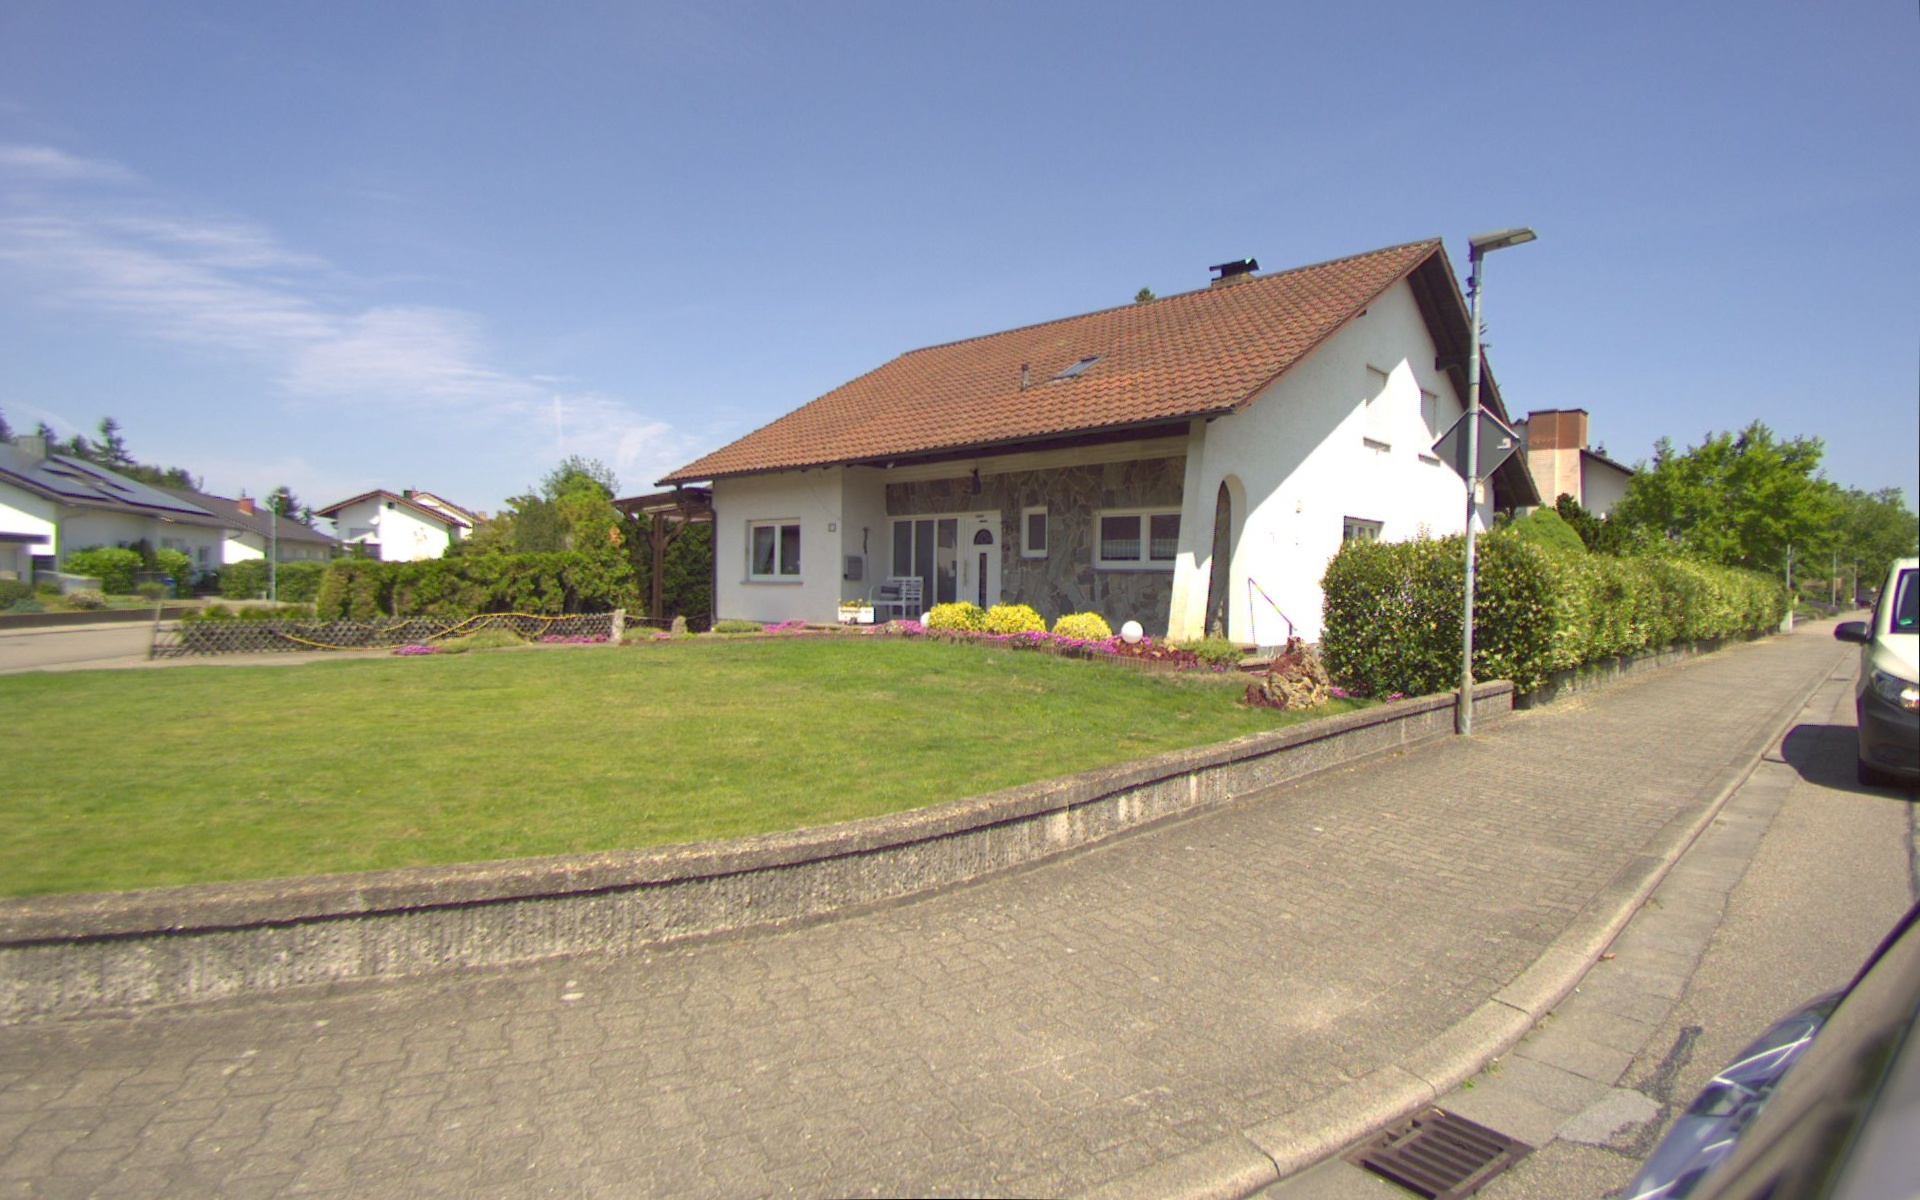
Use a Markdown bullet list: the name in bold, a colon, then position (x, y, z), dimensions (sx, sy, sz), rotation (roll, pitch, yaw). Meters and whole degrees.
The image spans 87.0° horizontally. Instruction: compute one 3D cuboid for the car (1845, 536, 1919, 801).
- **car**: position (8.944, 0.471, 8.621), dimensions (2.011, 1.879, 4.994), rotation (1, 2, 40)
